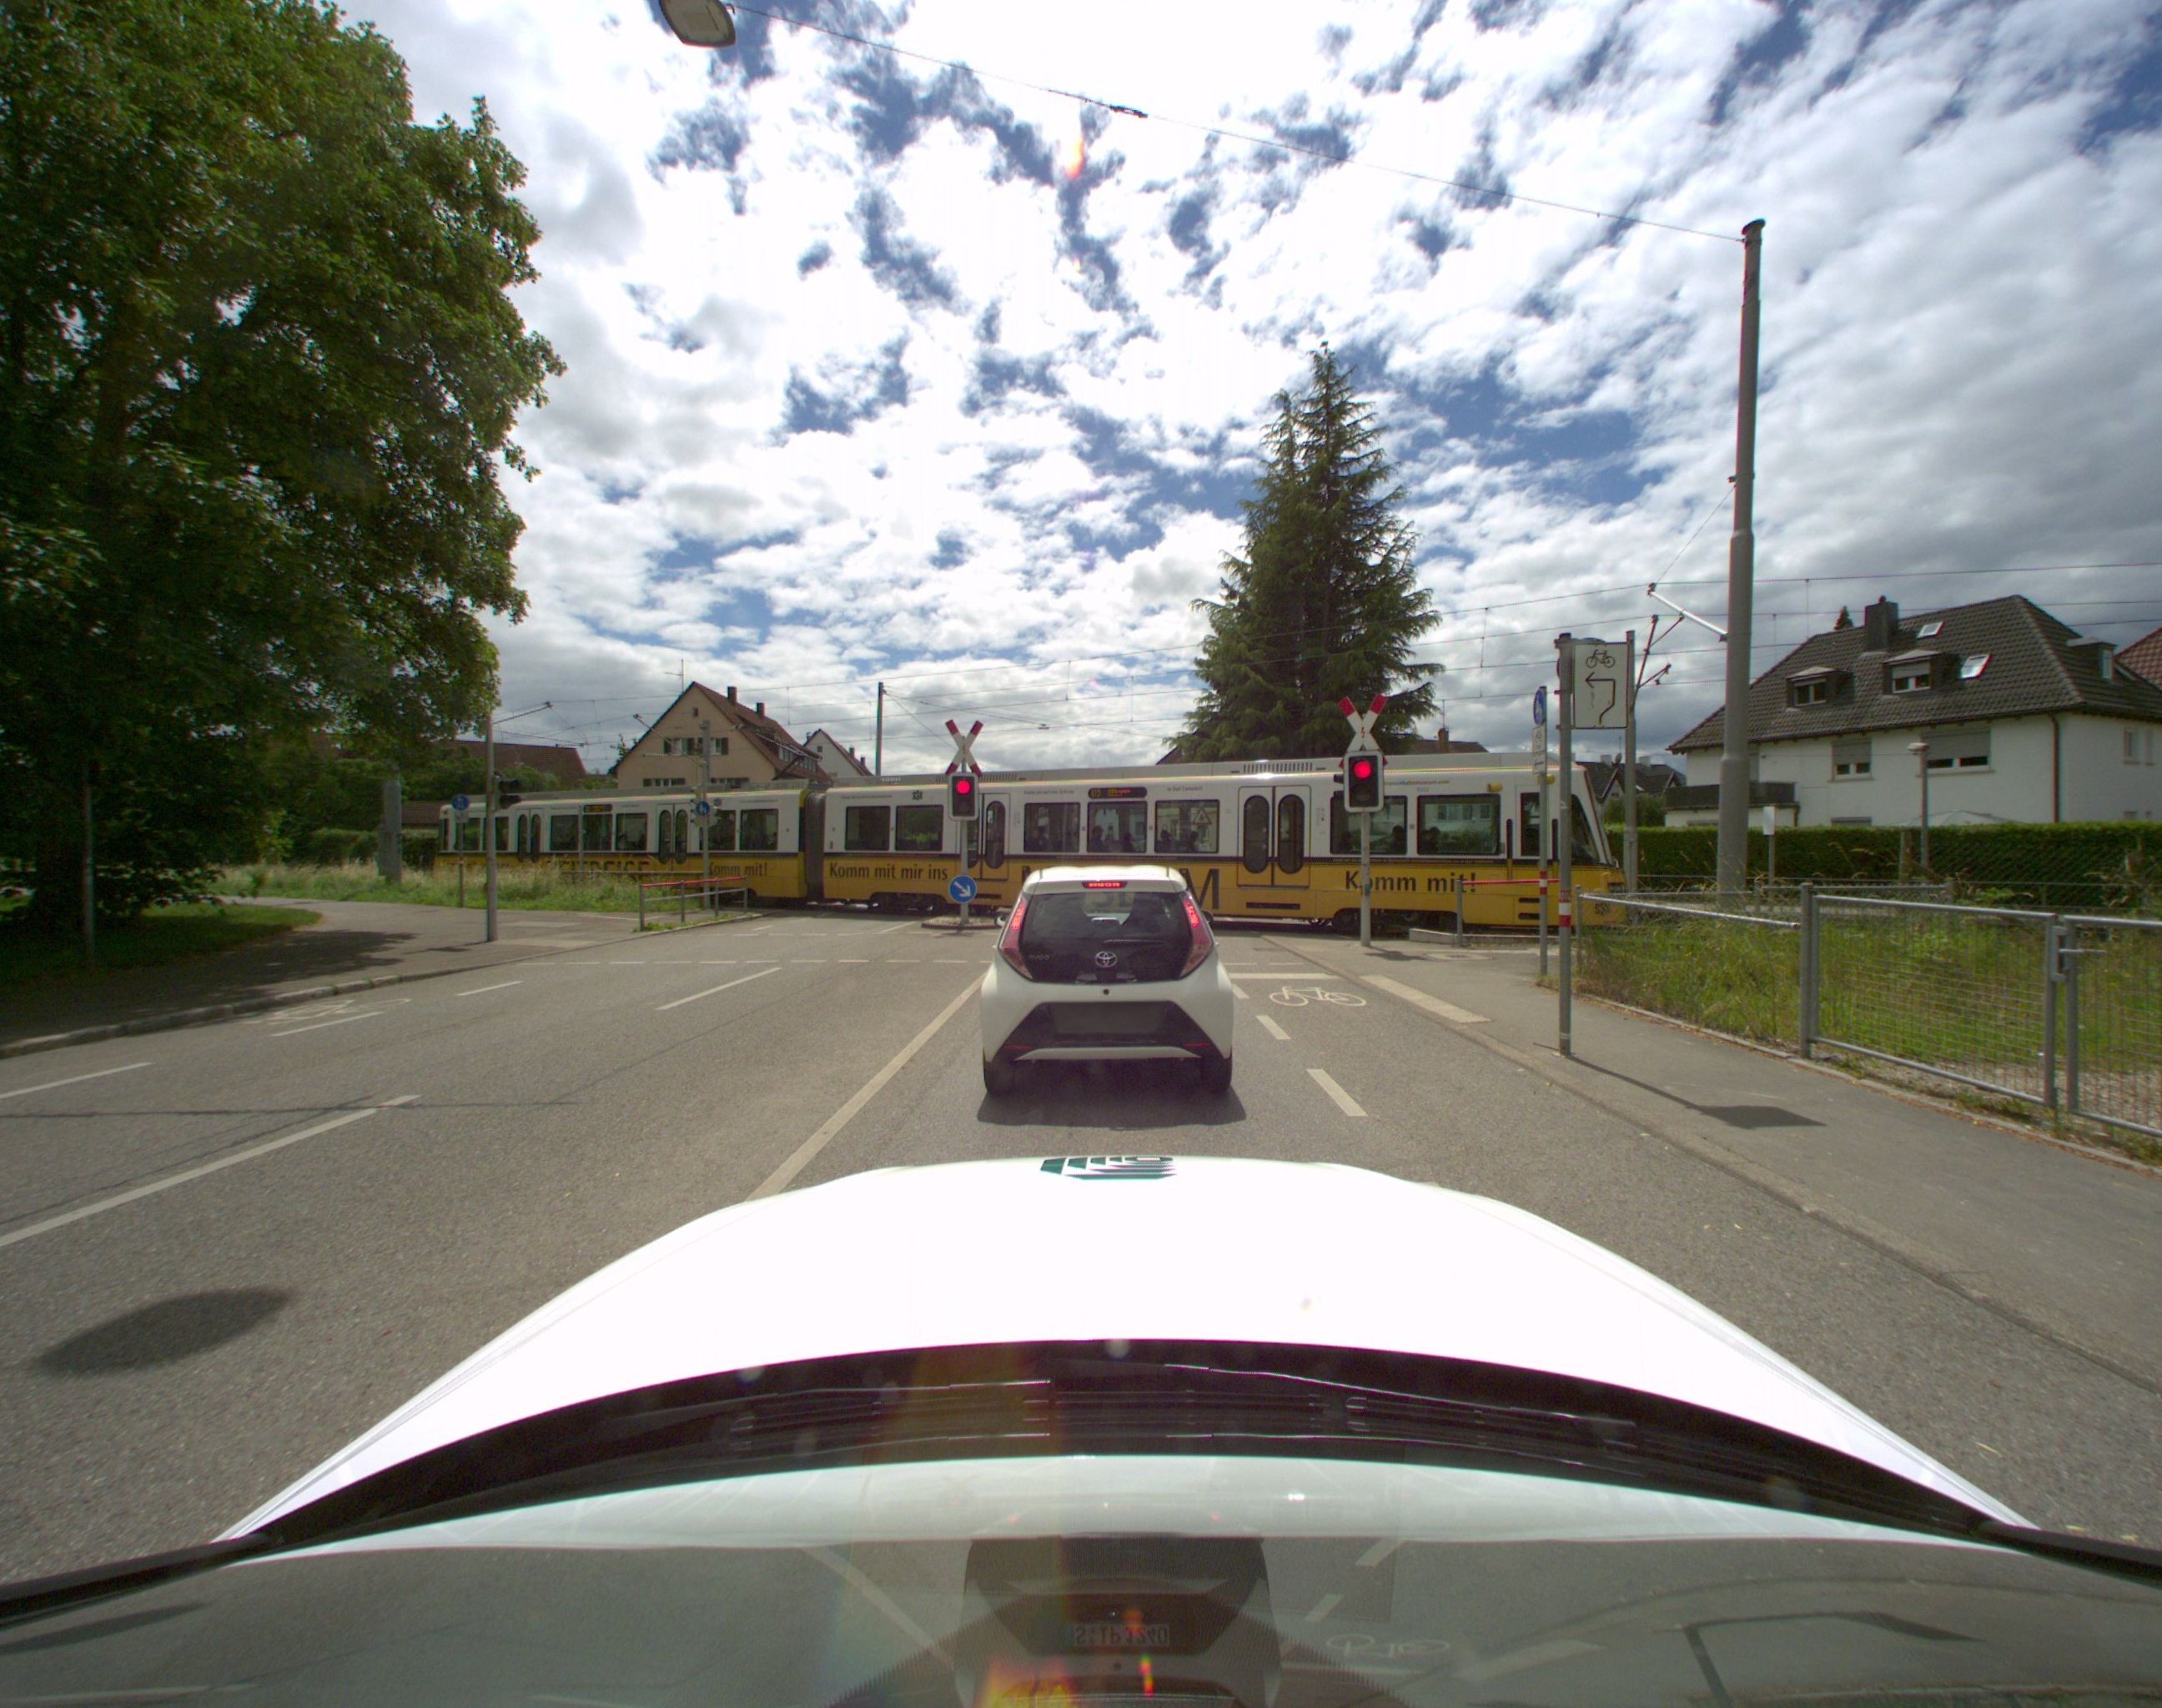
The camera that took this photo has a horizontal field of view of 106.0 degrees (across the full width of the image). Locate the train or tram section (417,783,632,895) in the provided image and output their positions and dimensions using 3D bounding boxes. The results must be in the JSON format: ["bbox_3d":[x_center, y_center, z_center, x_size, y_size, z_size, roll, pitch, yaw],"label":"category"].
[{"bbox_3d":[-20.356,-0.533,29.738,7.622,3.721,2.886,1,0,24],"label":"train or tram section"}]

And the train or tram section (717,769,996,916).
[{"bbox_3d":[-6.522,-0.335,23.488,7.622,3.721,2.886,1,0,24],"label":"train or tram section"}]

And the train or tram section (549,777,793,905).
[{"bbox_3d":[-13.428,-0.408,26.593,7.622,3.721,2.886,1,0,24],"label":"train or tram section"}]

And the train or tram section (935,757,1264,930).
[{"bbox_3d":[0.416,-0.264,20.316,7.622,3.721,2.886,1,0,24],"label":"train or tram section"}]

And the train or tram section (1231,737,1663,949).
[{"bbox_3d":[7.308,-0.225,17.152,7.622,3.721,2.886,1,0,24],"label":"train or tram section"}]

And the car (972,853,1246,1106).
[{"bbox_3d":[0.229,0.762,6.852,1.615,1.486,4.001,-1,-1,2],"label":"car"}]
